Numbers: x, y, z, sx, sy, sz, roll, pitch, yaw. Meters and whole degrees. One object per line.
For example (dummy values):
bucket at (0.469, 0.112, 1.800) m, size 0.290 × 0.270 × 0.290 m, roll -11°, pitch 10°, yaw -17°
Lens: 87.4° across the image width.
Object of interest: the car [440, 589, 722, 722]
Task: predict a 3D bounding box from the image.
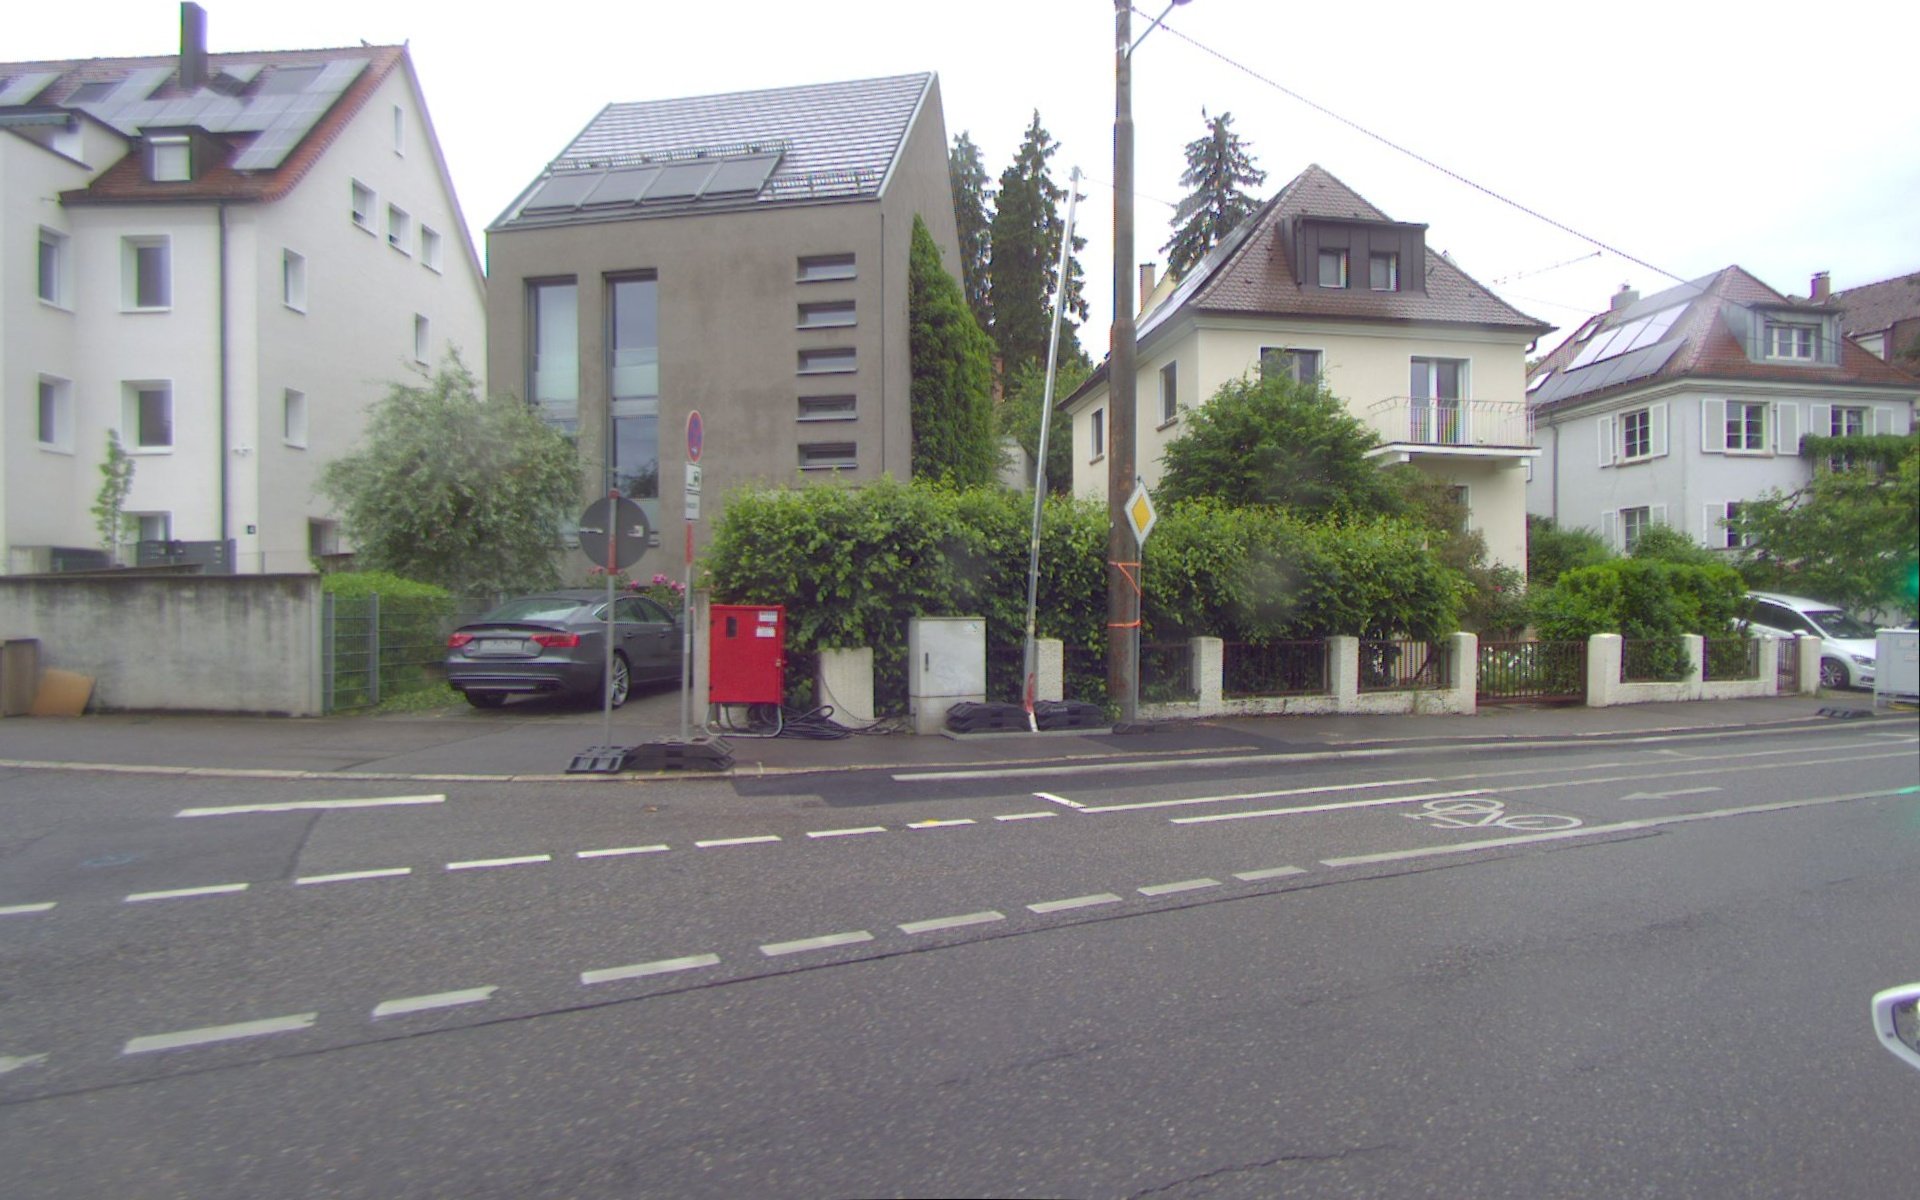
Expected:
car at (-4.622, 0.570, 13.007) m, size 1.581 × 1.387 × 4.265 m, roll 0°, pitch 1°, yaw 8°

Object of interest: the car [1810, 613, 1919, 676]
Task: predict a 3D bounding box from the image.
car at (24.851, 1.176, 25.964) m, size 1.909 × 1.546 × 3.987 m, roll 2°, pitch 0°, yaw -16°

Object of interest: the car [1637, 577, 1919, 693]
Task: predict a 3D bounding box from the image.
car at (18.536, 0.673, 22.969) m, size 1.832 × 1.639 × 4.961 m, roll 0°, pitch 10°, yaw -15°
